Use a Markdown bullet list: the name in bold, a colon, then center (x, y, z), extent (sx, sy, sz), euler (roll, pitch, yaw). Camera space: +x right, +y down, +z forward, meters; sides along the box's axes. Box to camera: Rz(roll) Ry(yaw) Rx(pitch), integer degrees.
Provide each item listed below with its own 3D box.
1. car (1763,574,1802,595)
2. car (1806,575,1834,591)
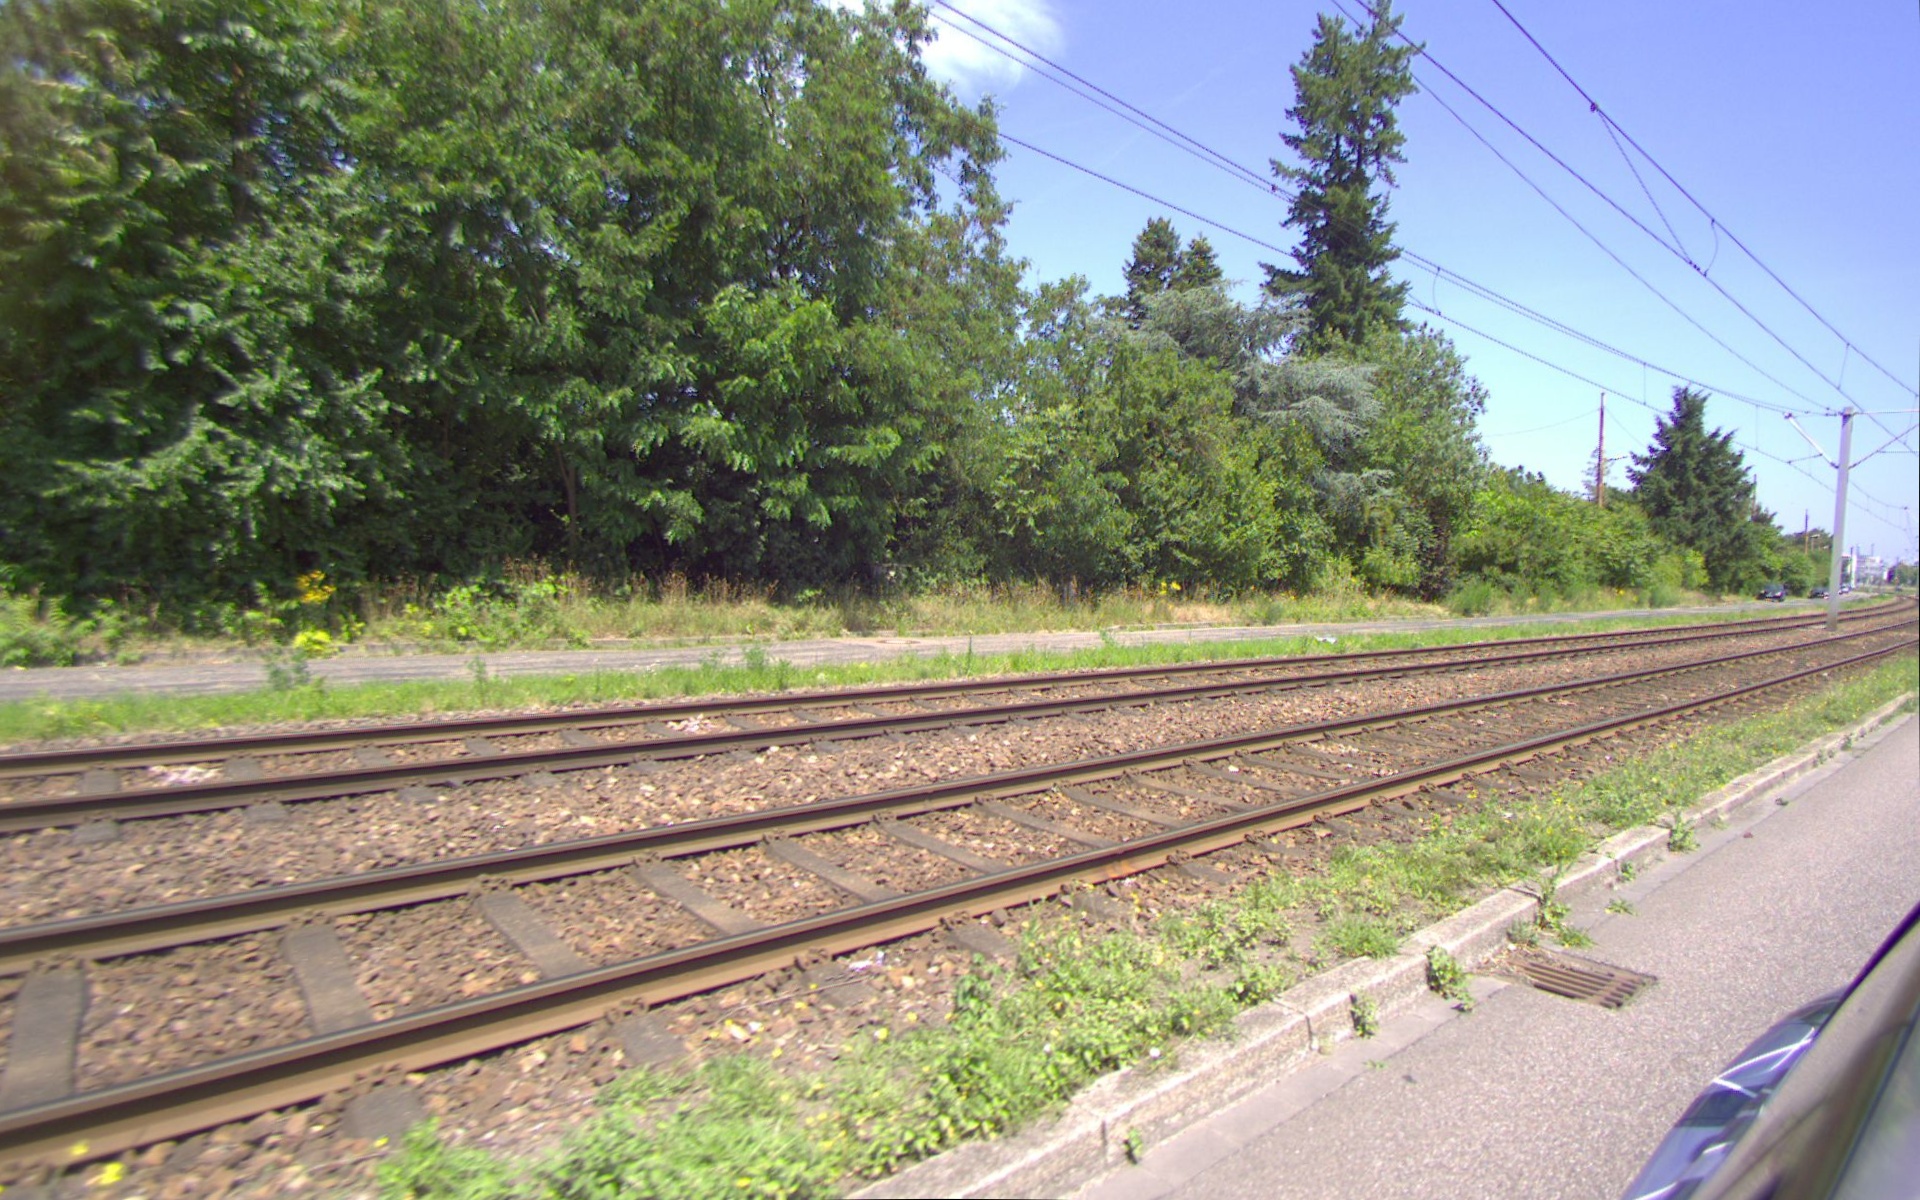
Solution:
- **car**: center (69.665, -1.330, 85.693), extent (3.931, 1.742, 1.997), euler (-1, 1, -42)
- **car**: center (90.584, -1.796, 106.553), extent (3.936, 1.716, 1.942), euler (-1, 1, -45)
